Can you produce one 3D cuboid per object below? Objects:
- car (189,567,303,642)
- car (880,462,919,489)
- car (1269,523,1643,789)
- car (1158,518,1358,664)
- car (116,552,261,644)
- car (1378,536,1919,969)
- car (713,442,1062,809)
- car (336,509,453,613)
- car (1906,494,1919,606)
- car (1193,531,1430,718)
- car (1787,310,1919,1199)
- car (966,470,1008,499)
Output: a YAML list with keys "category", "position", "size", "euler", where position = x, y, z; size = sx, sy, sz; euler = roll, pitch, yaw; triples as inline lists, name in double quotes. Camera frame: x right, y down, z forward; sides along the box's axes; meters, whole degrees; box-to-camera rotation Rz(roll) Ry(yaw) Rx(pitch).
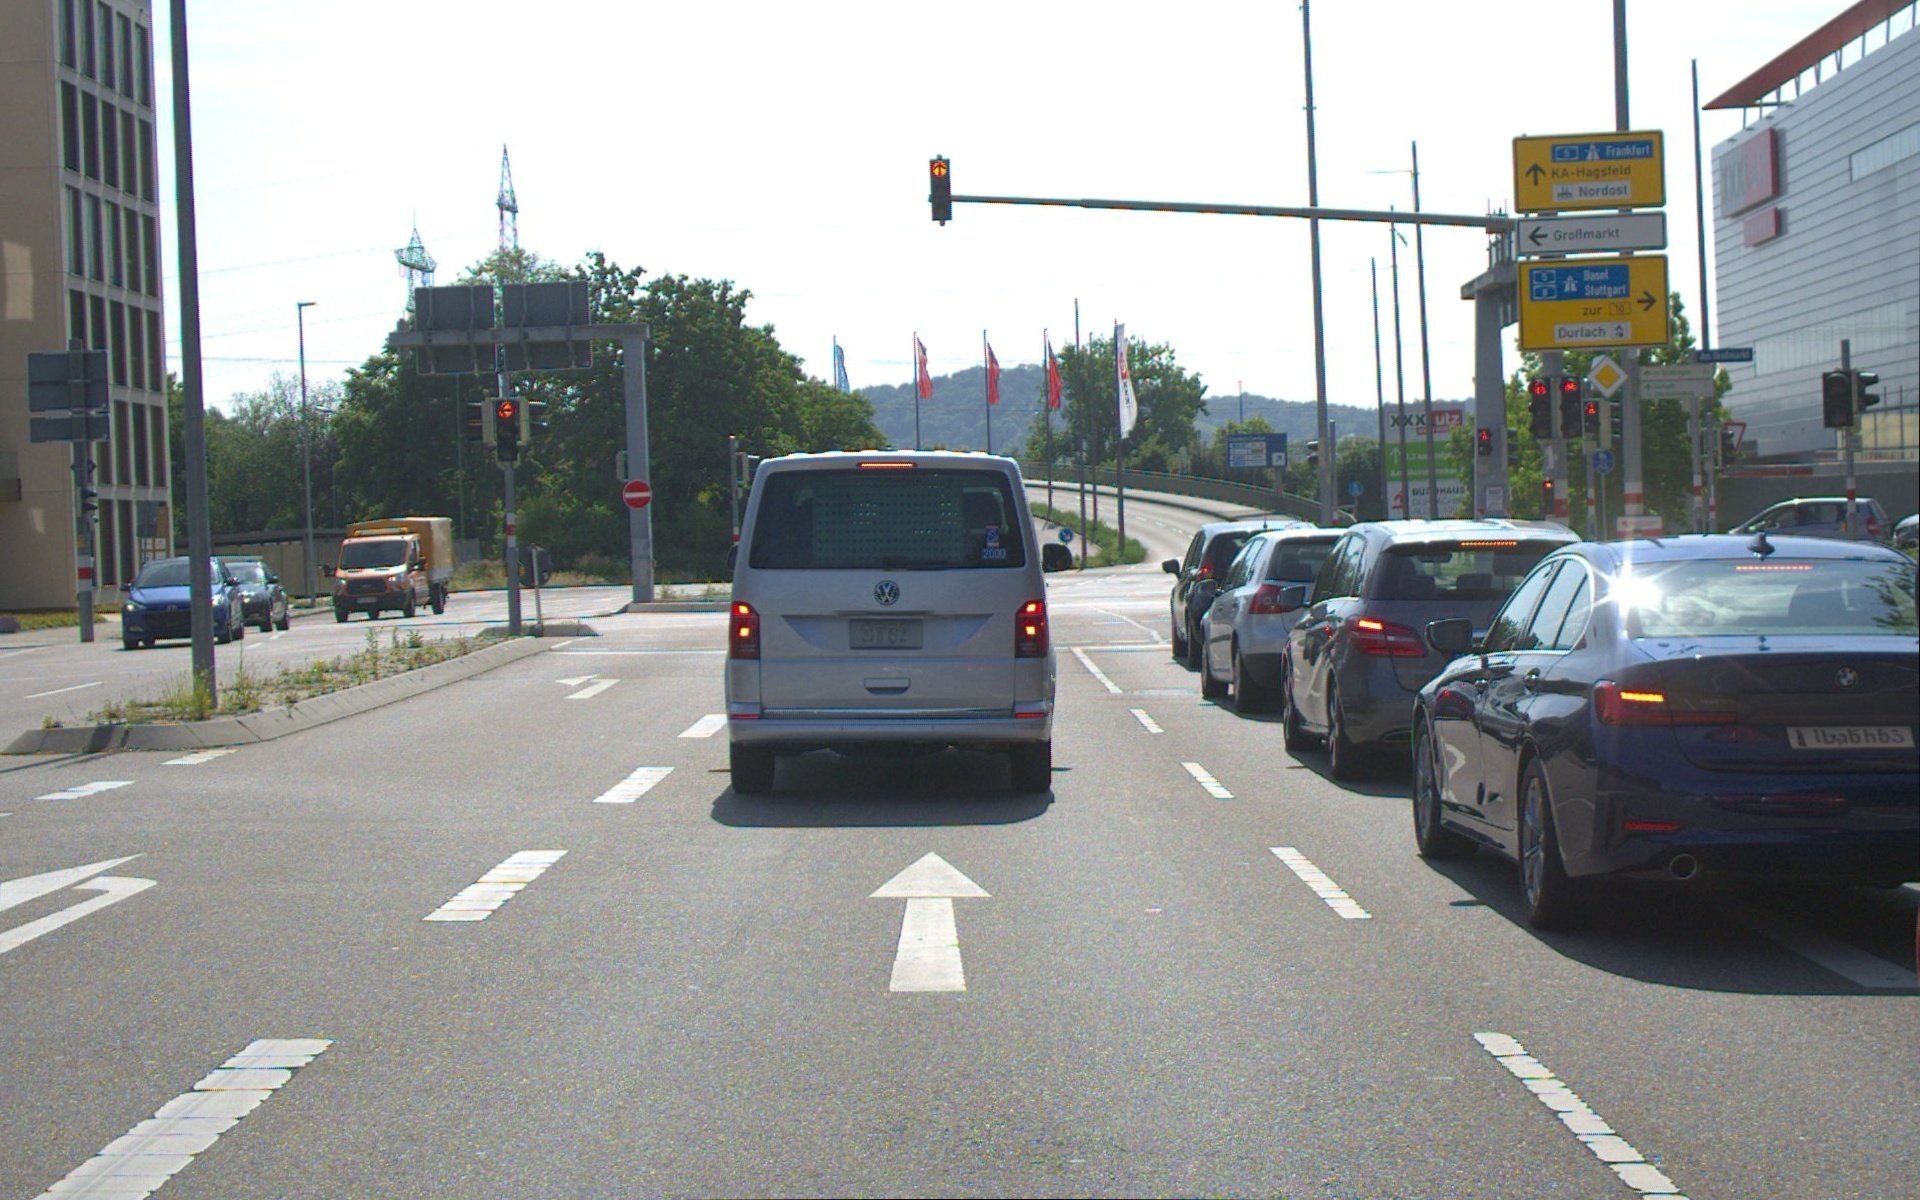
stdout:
- category: "car"
  position: [-14.851, 0.075, 71.678]
  size: [1.576, 1.404, 4.380]
  euler: [-2, 1, -2]
- category: "car"
  position: [-4.615, -9.467, 262.007]
  size: [1.993, 2.007, 4.001]
  euler: [-1, 1, -15]
- category: "car"
  position: [3.025, 0.280, 21.726]
  size: [1.746, 1.511, 4.078]
  euler: [0, 1, 0]
- category: "car"
  position: [3.230, -0.138, 37.963]
  size: [1.836, 1.521, 4.000]
  euler: [0, 1, 0]
- category: "car"
  position: [-13.002, -0.056, 58.103]
  size: [1.681, 1.353, 3.841]
  euler: [-2, 2, -2]
- category: "car"
  position: [2.861, 0.480, 13.974]
  size: [1.746, 1.453, 4.476]
  euler: [0, 1, 0]
- category: "car"
  position: [-0.402, 0.096, 20.707]
  size: [1.884, 1.983, 4.000]
  euler: [0, 1, 0]
- category: "car"
  position: [-14.966, -1.064, 91.332]
  size: [2.405, 2.552, 6.896]
  euler: [-2, 1, -4]
- category: "car"
  position: [19.159, -1.042, 60.744]
  size: [4.402, 1.987, 1.481]
  euler: [-4, 1, 5]
- category: "car"
  position: [2.898, 0.157, 29.000]
  size: [1.578, 1.453, 3.786]
  euler: [0, 1, 0]
- category: "car"
  position: [3.054, 0.382, 5.965]
  size: [1.967, 1.961, 5.126]
  euler: [0, 1, 0]
- category: "car"
  position: [1.916, -8.256, 246.279]
  size: [1.993, 2.007, 4.001]
  euler: [-1, 1, -15]
